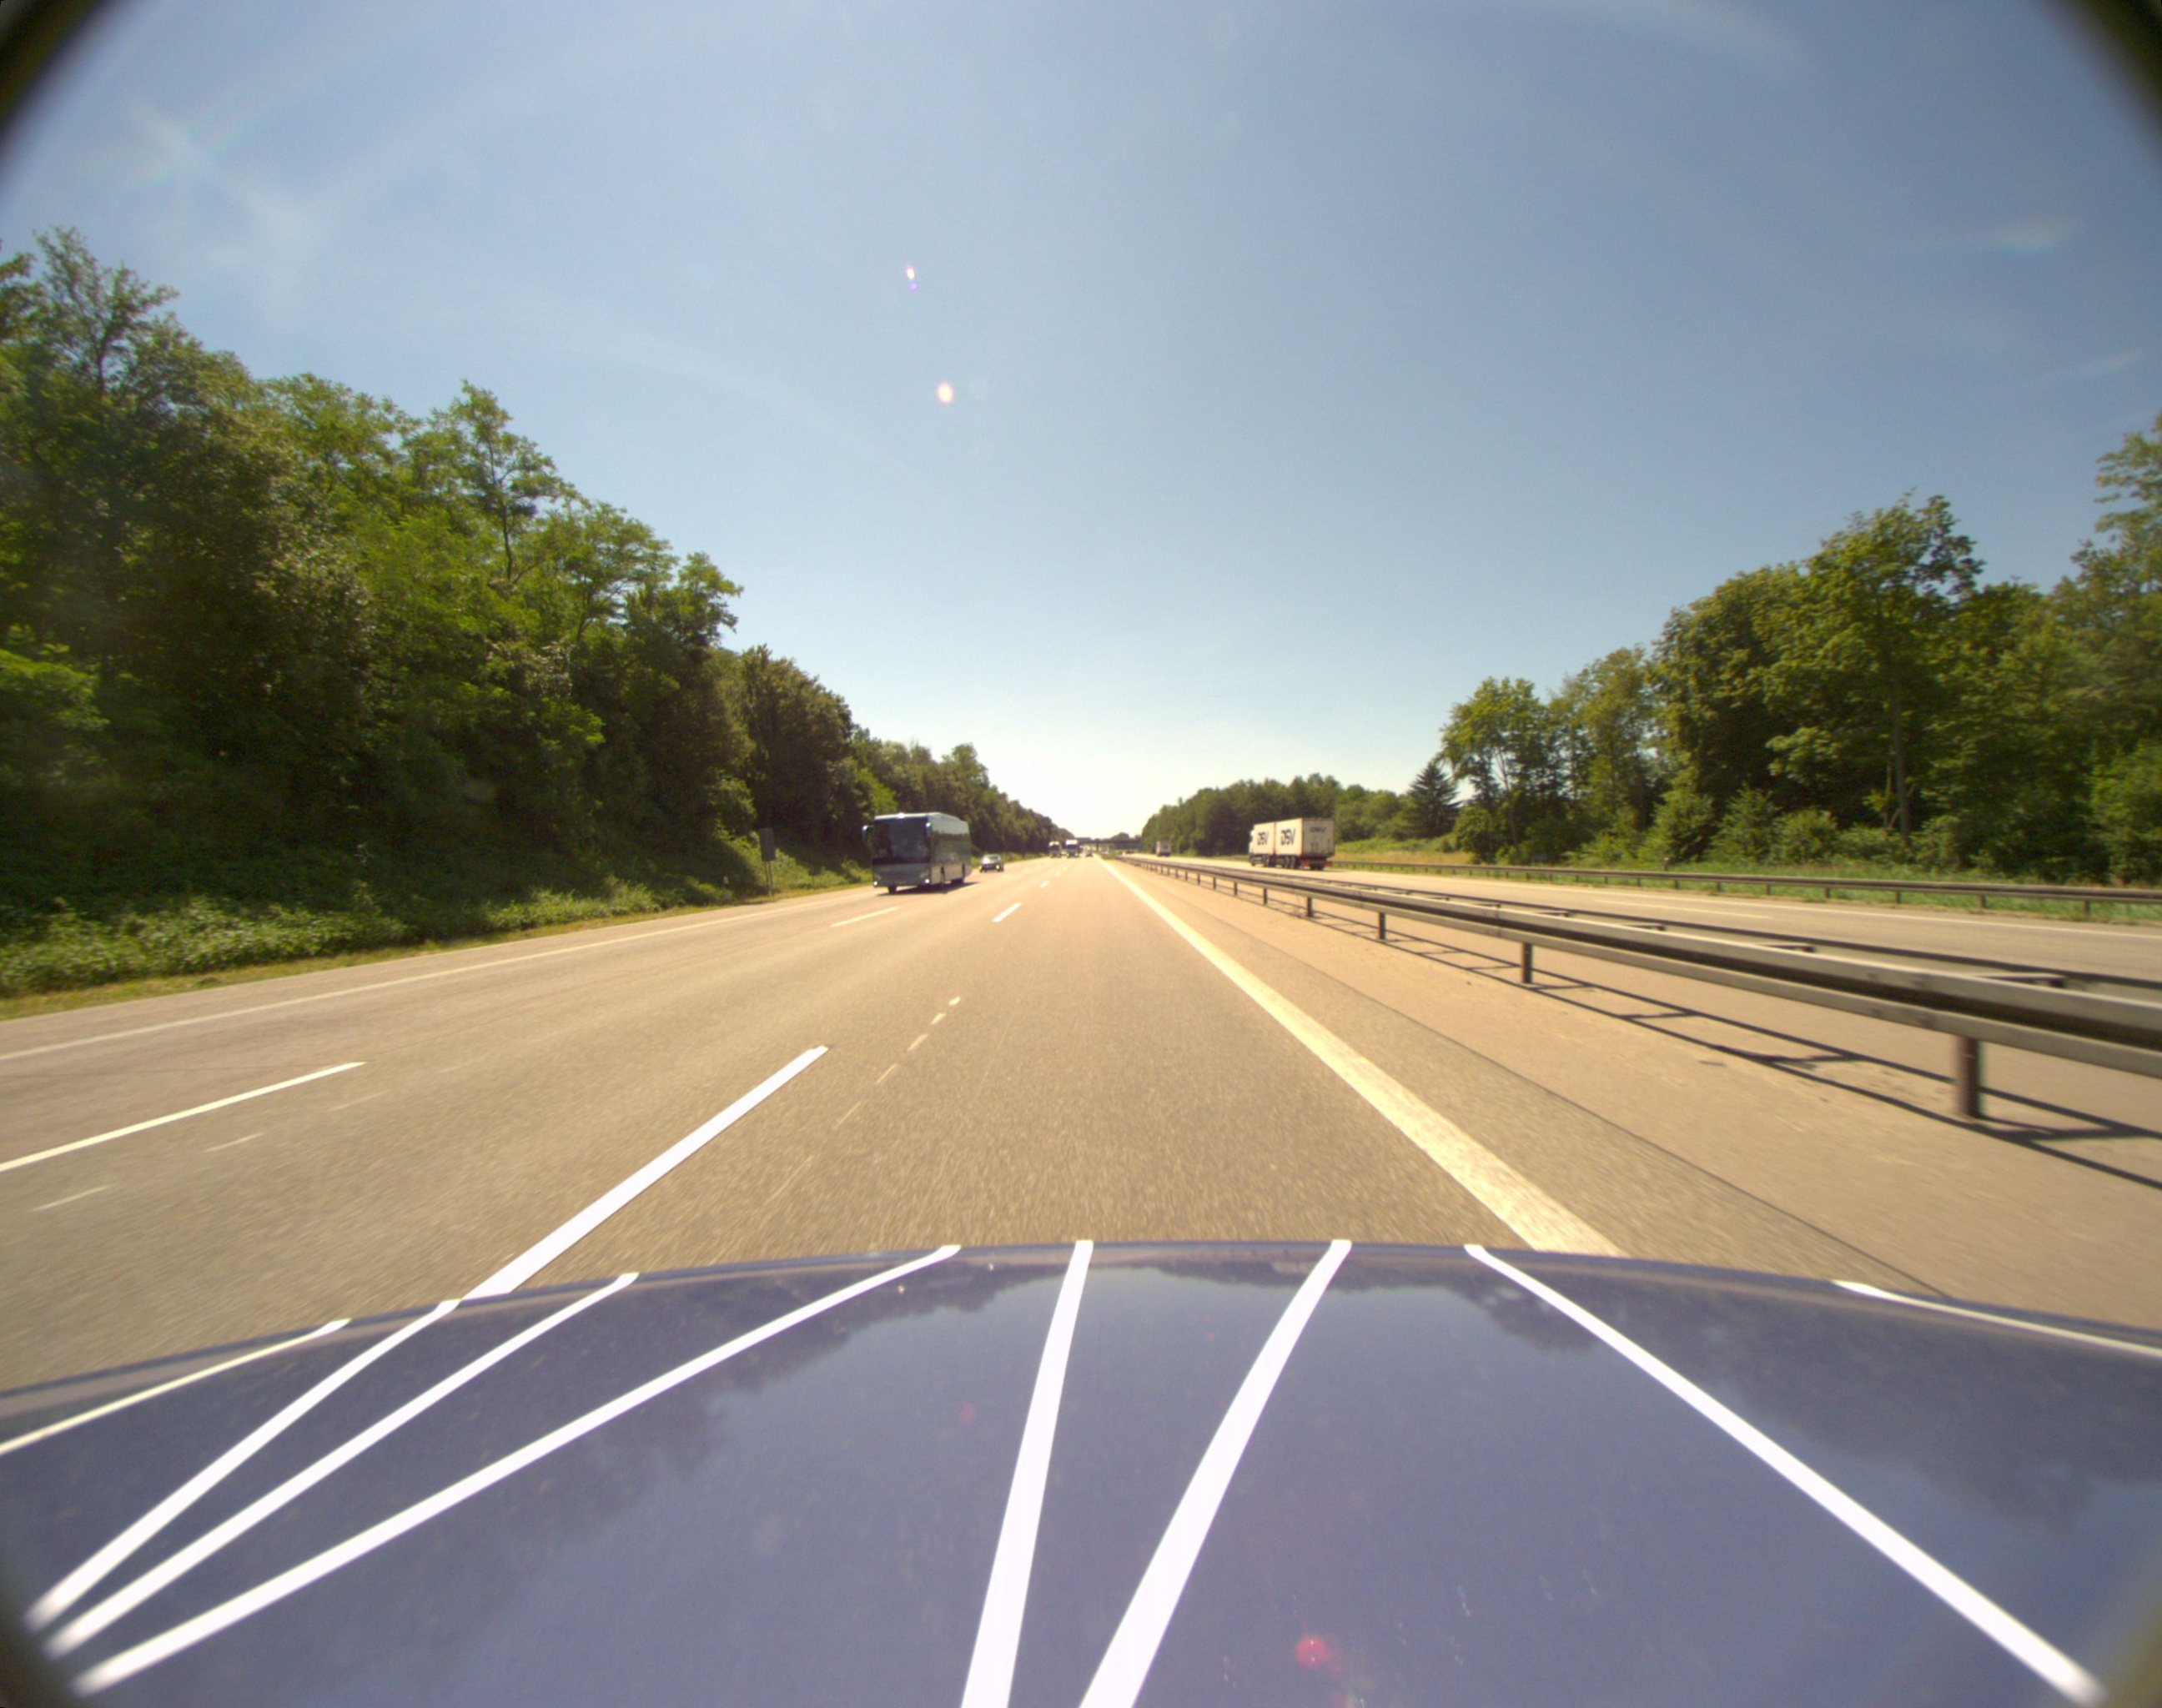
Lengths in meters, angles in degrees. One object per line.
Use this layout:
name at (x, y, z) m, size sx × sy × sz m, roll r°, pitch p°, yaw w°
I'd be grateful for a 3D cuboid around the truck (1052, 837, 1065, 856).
truck at (-5.670, -2.014, 194.401) m, size 2.616 × 4.638 × 10.959 m, roll -2°, pitch 1°, yaw 0°

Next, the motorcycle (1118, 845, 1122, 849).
motorcycle at (12.143, -2.135, 235.024) m, size 1.037 × 1.231 × 3.810 m, roll -2°, pitch 1°, yaw 1°

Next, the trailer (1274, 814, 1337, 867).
trailer at (18.047, -1.029, 61.573) m, size 2.585 × 3.966 × 8.558 m, roll -1°, pitch 1°, yaw 0°

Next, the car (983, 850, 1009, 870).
car at (-7.523, 0.517, 67.653) m, size 1.814 × 1.607 × 3.999 m, roll -2°, pitch 1°, yaw 1°

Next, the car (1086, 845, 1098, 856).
car at (2.625, -0.869, 176.081) m, size 2.616 × 2.390 × 7.122 m, roll -2°, pitch 1°, yaw 0°

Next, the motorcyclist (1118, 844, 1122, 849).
motorcyclist at (12.133, -2.317, 234.359) m, size 1.043 × 1.590 × 1.151 m, roll -2°, pitch 1°, yaw 0°

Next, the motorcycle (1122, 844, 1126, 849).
motorcycle at (12.209, -2.123, 214.892) m, size 1.037 × 1.260 × 2.577 m, roll -2°, pitch 1°, yaw 1°

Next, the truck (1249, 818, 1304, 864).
truck at (18.075, -1.177, 71.043) m, size 2.587 × 3.984 × 10.337 m, roll -1°, pitch 1°, yaw 0°

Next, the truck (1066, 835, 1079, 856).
truck at (-1.941, -1.984, 179.941) m, size 2.616 × 4.638 × 10.959 m, roll -2°, pitch 1°, yaw 0°

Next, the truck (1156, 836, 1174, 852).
truck at (19.418, -2.297, 177.207) m, size 3.002 × 3.598 × 10.268 m, roll -2°, pitch 1°, yaw 0°

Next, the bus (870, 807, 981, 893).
bus at (-7.455, -0.276, 38.864) m, size 2.617 × 3.532 × 13.680 m, roll -2°, pitch 1°, yaw 1°

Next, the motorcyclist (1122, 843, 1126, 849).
motorcyclist at (12.205, -2.291, 214.807) m, size 1.043 × 1.590 × 1.151 m, roll -2°, pitch 1°, yaw 0°

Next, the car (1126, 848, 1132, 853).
car at (16.457, -1.094, 258.561) m, size 1.850 × 1.663 × 4.185 m, roll 1°, pitch 1°, yaw 0°
